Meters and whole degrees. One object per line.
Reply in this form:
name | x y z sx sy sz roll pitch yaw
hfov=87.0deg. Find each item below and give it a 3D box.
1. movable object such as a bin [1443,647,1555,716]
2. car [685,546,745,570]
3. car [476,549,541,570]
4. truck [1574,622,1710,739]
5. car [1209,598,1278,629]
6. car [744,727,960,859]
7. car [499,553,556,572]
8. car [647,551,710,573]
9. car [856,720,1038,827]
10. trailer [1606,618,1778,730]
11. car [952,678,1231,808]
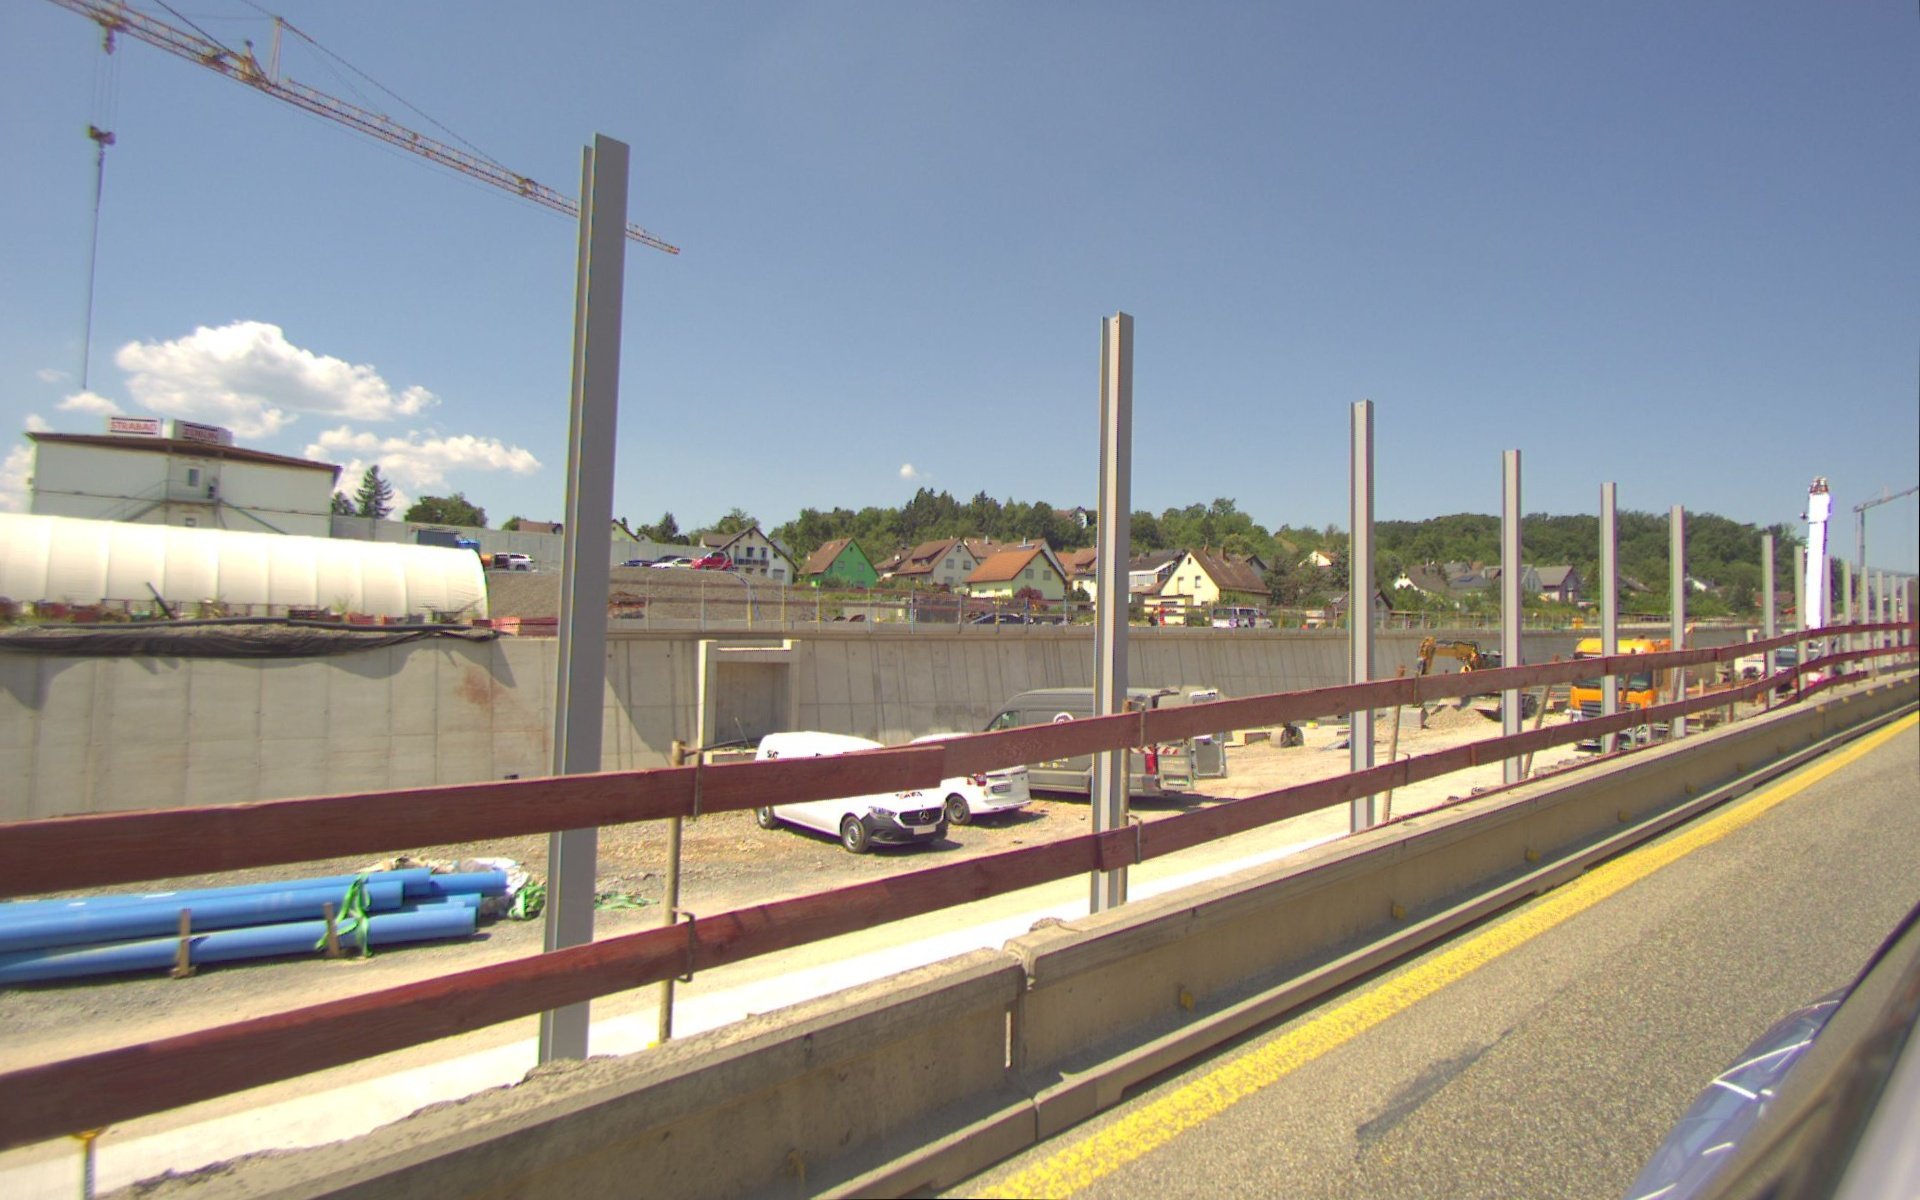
movable object such as a bin | 25.581 3.803 48.019 3.924 2.820 3.270 -1 0 -35
car | -16.041 -2.732 66.285 3.544 1.505 1.544 -1 0 -41
car | -33.421 -2.972 74.994 4.136 1.505 1.729 -1 0 -37
truck | 23.208 2.578 34.359 5.341 3.447 2.503 -1 0 -41
car | 16.289 0.742 57.995 4.527 1.623 1.656 -1 0 -42
car | -2.175 3.500 19.188 1.689 1.792 4.797 3 -3 -40
car | -36.629 -3.136 85.708 4.139 1.505 1.728 -1 0 -39
car | -20.571 -2.777 74.095 4.141 1.505 1.728 -1 0 -41
car | -0.348 3.588 21.574 3.860 1.708 1.665 -2 -2 45
trailer | 28.315 2.552 38.767 12.668 3.394 2.444 -1 0 -41
car | 2.918 3.173 23.682 6.267 2.615 2.027 -3 -4 37
